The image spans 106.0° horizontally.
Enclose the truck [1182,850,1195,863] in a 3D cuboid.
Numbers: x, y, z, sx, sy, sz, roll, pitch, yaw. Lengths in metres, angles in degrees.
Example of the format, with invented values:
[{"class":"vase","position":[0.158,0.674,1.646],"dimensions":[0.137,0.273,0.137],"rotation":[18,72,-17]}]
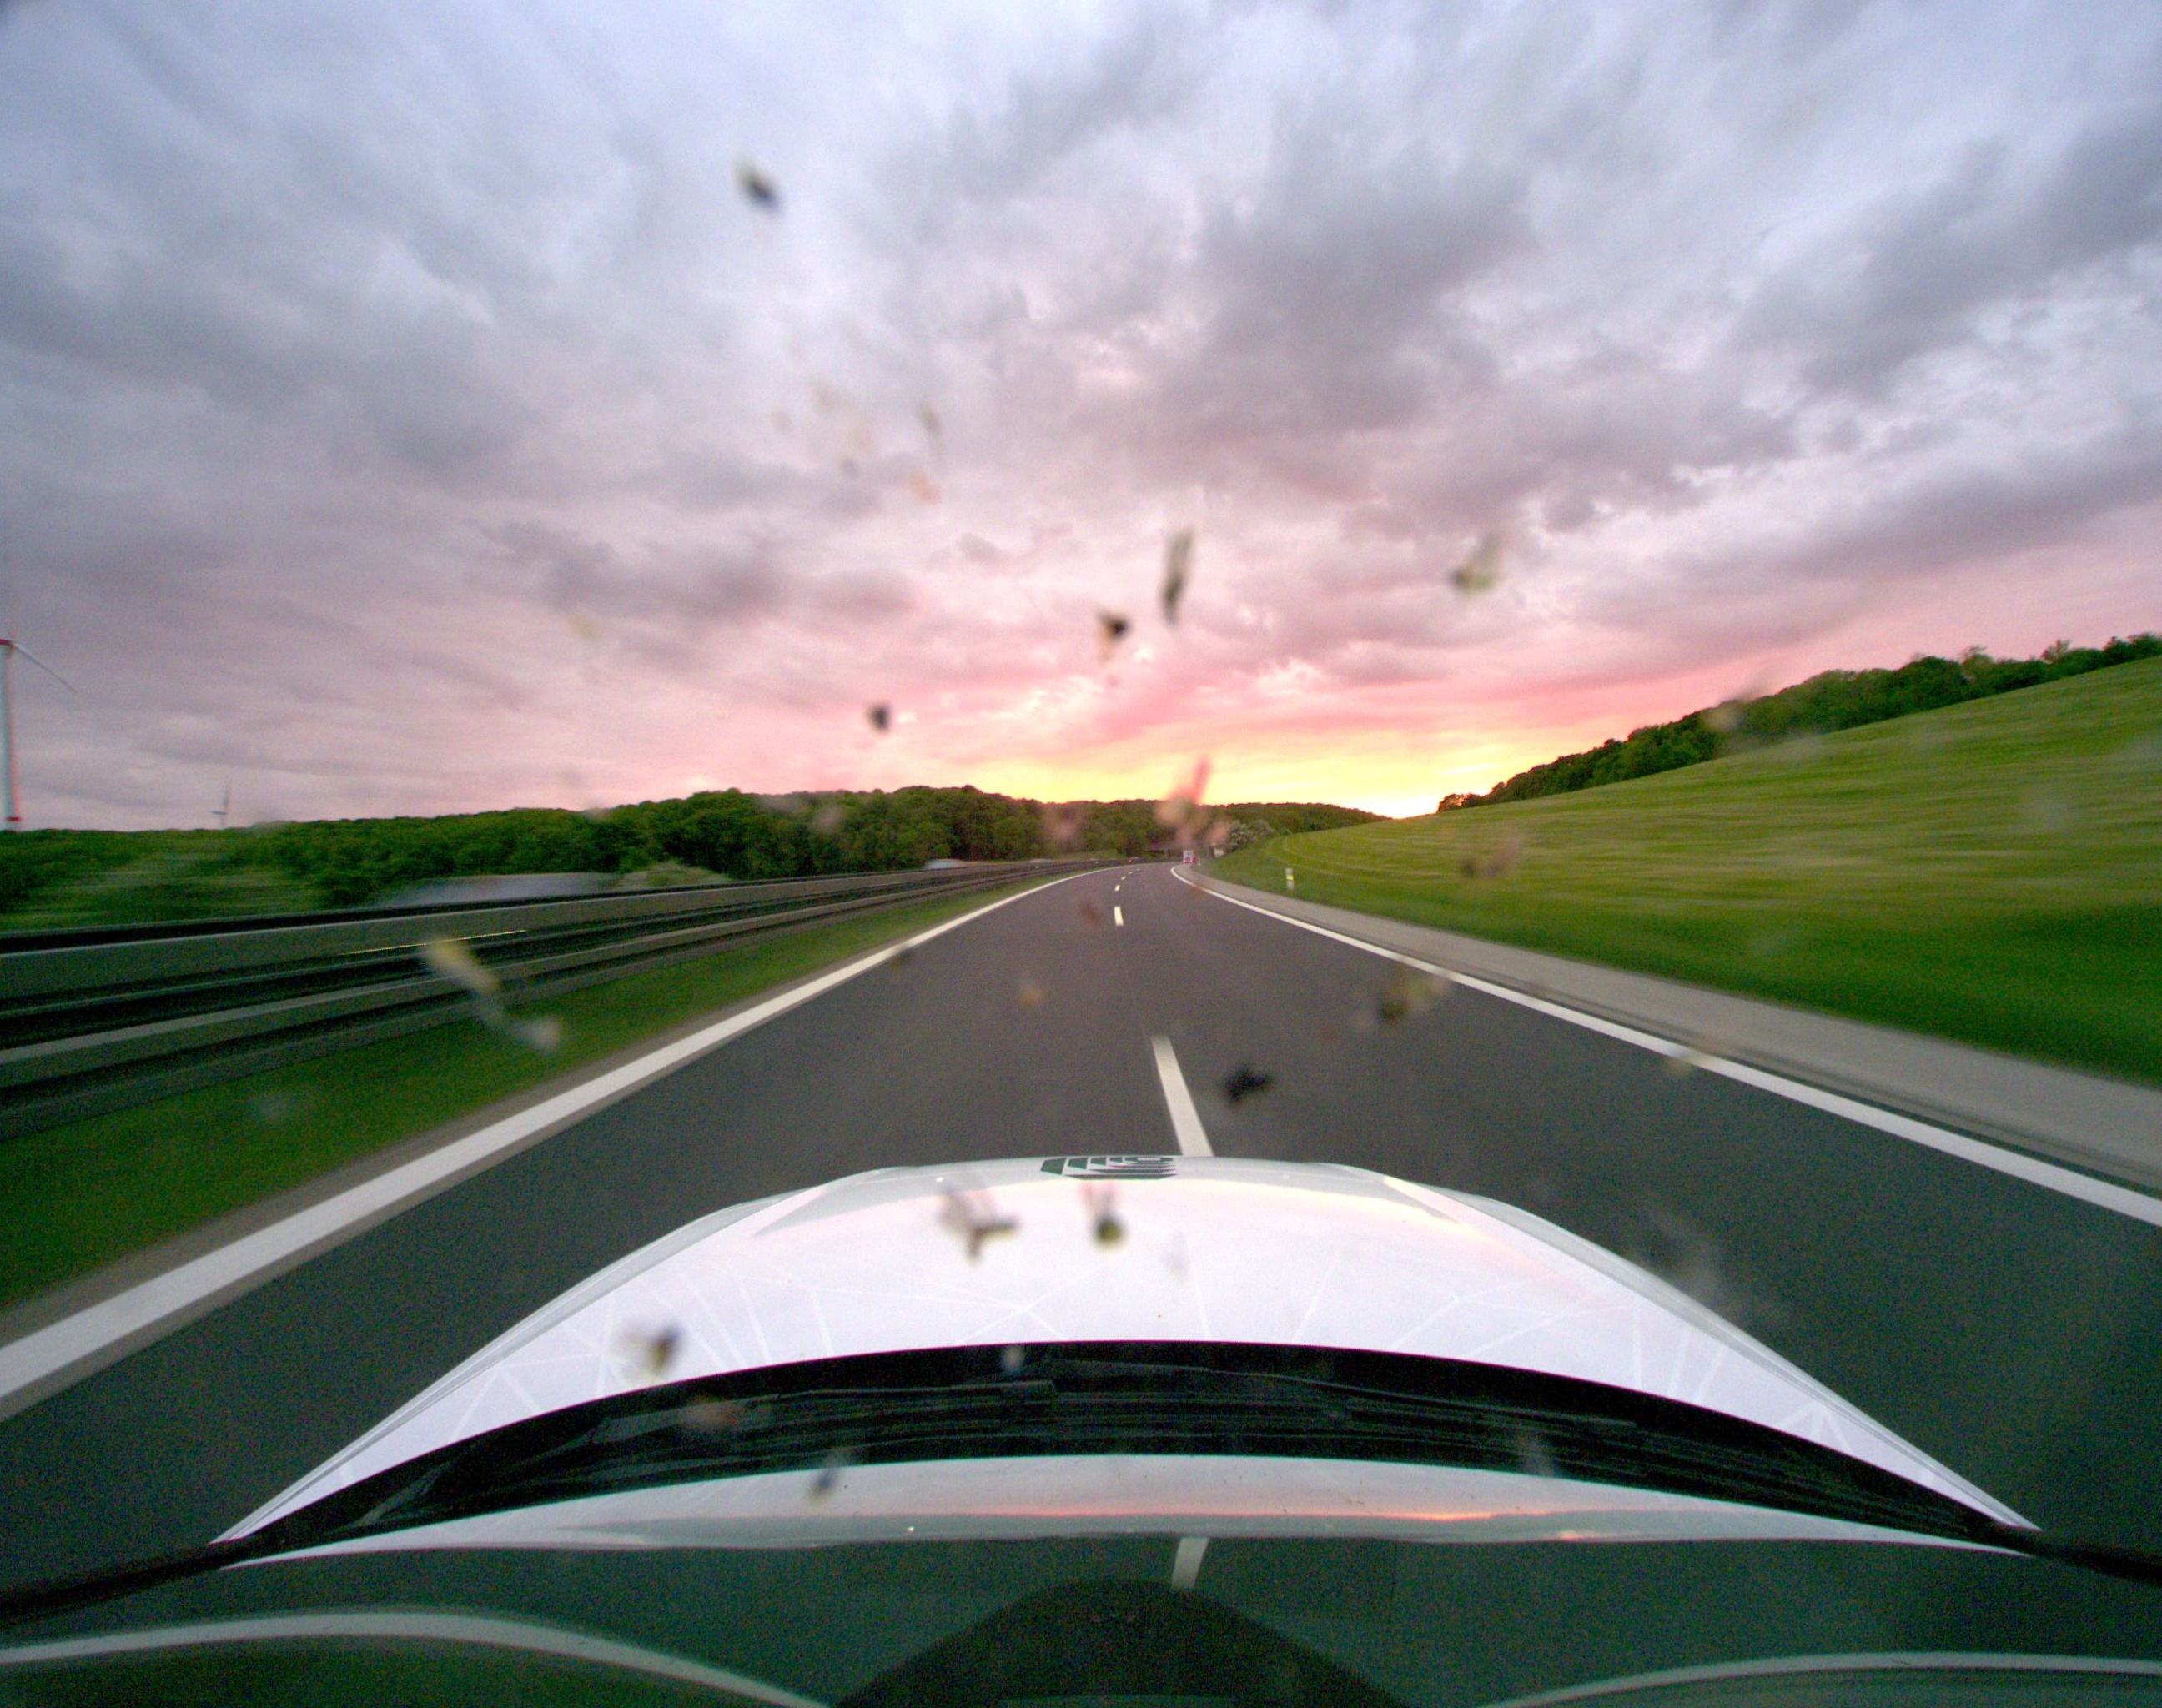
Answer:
[{"class":"truck","position":[22.483,0.524,170.346],"dimensions":[2.261,2.665,5.253],"rotation":[-3,0,12]}]

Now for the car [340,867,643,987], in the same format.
[{"class":"car","position":[-8.923,1.005,12.847],"dimensions":[1.859,1.515,3.999],"rotation":[0,0,0]}]

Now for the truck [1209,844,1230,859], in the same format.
[{"class":"truck","position":[40.882,-0.760,239.156],"dimensions":[3.926,4.287,14.389],"rotation":[-2,-1,18]}]

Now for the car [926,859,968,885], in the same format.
[{"class":"car","position":[-8.074,1.057,49.422],"dimensions":[1.599,1.393,4.250],"rotation":[-3,0,3]}]
